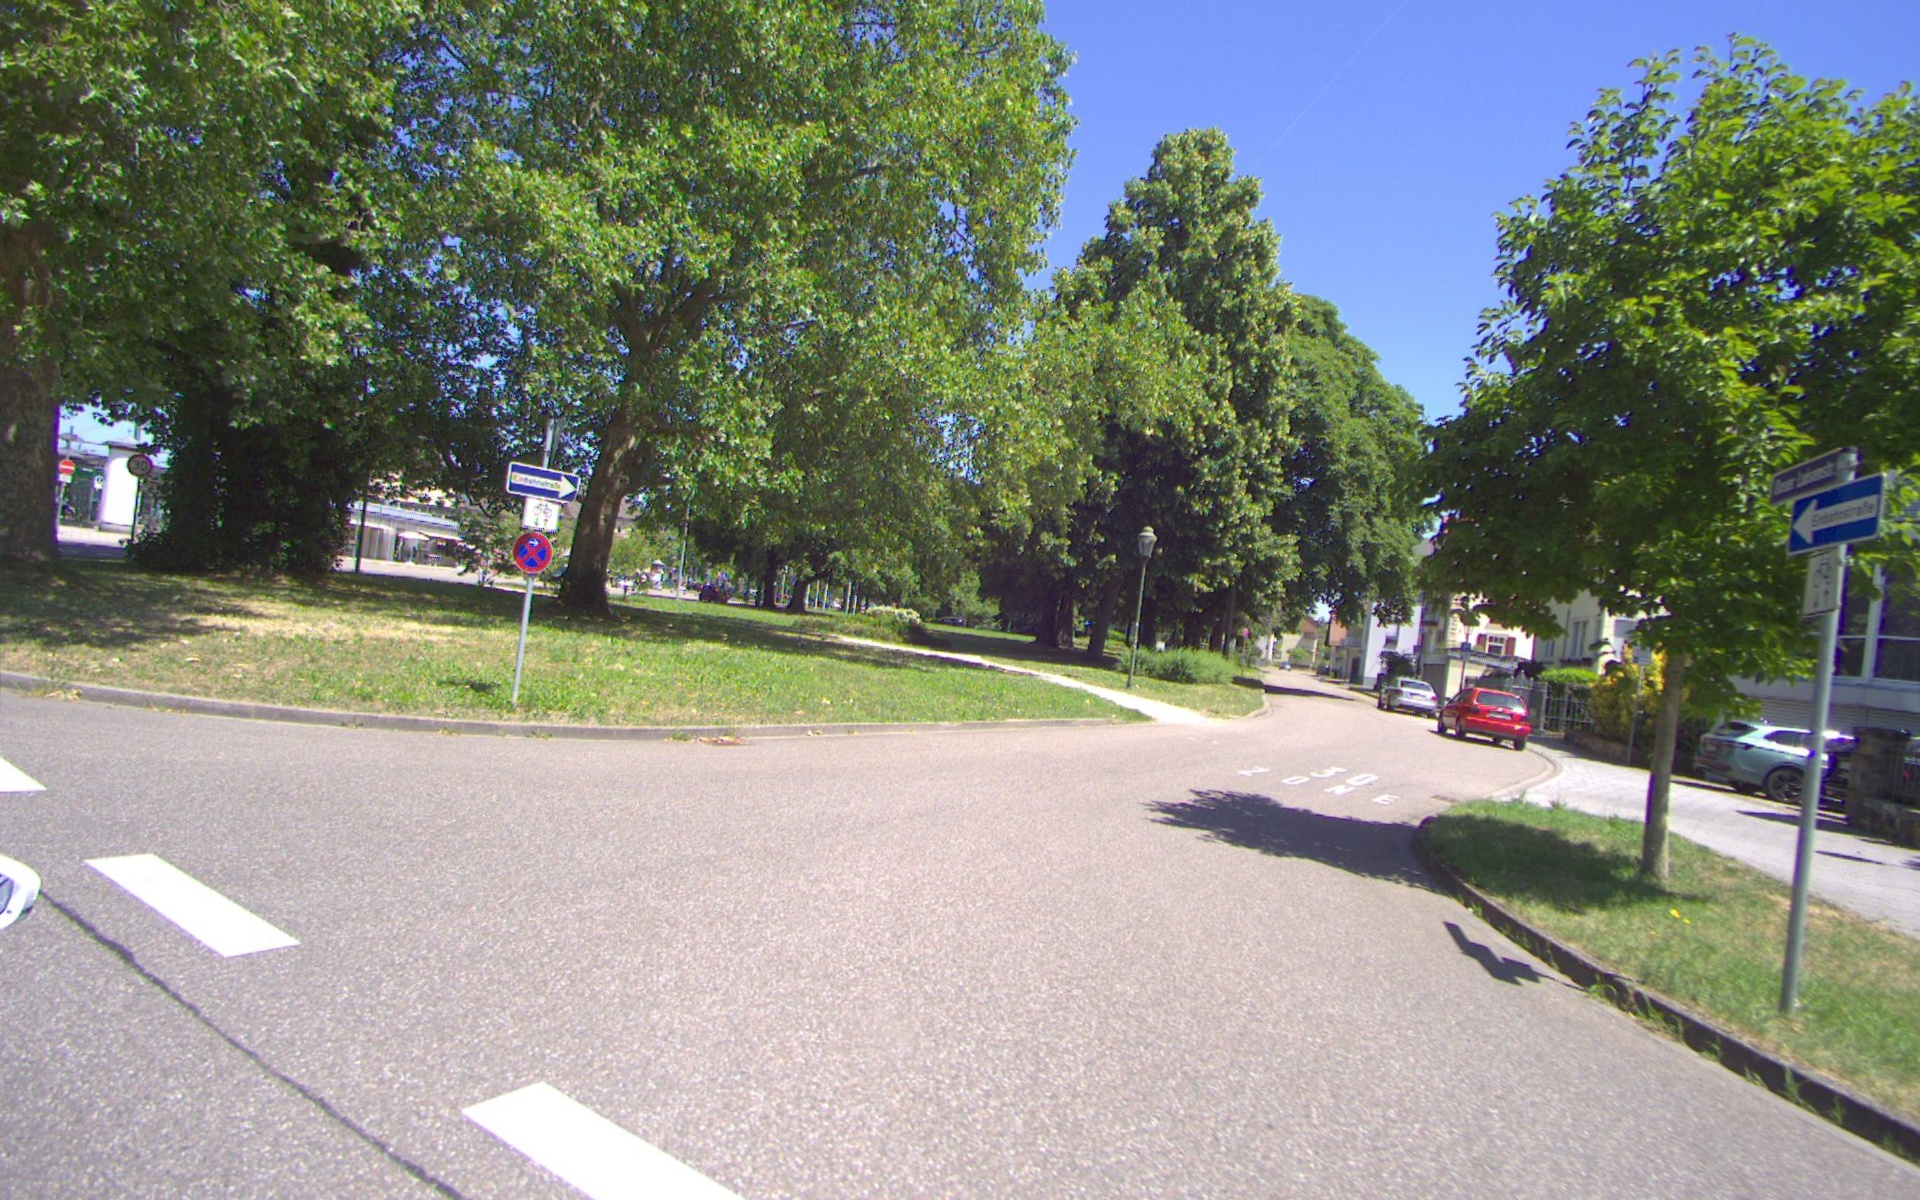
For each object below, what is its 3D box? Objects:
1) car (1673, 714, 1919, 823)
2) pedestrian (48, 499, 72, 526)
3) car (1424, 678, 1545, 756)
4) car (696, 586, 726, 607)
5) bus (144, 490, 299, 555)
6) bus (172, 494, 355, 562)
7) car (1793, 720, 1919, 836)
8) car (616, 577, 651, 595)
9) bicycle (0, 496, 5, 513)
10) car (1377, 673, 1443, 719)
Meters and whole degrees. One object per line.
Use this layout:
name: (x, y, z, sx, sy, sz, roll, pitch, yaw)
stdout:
car: (16.576, 3.252, 19.531, 3.925, 1.408, 2.000, 6, 0, 19)
pedestrian: (-60.063, -5.829, 67.159, 0.809, 1.637, 0.766, 7, 0, -16)
car: (14.081, 3.093, 27.271, 1.721, 1.542, 4.003, 9, 0, 13)
car: (-20.639, -0.276, 83.572, 1.693, 1.496, 3.705, 7, -1, -4)
bus: (-56.809, -5.815, 78.060, 2.128, 3.568, 12.229, 7, -1, 3)
bus: (-48.358, -4.796, 70.724, 2.633, 3.076, 13.899, 7, -1, 2)
car: (16.713, 3.118, 16.648, 3.924, 1.587, 2.001, 7, 0, 7)
car: (-31.653, -1.328, 97.749, 1.786, 1.462, 4.159, 4, -1, 3)
bicycle: (-67.311, -6.722, 69.979, 1.359, 1.106, 0.387, 7, -2, 4)
car: (18.604, 3.935, 41.773, 1.720, 1.525, 4.003, 6, -1, 15)
